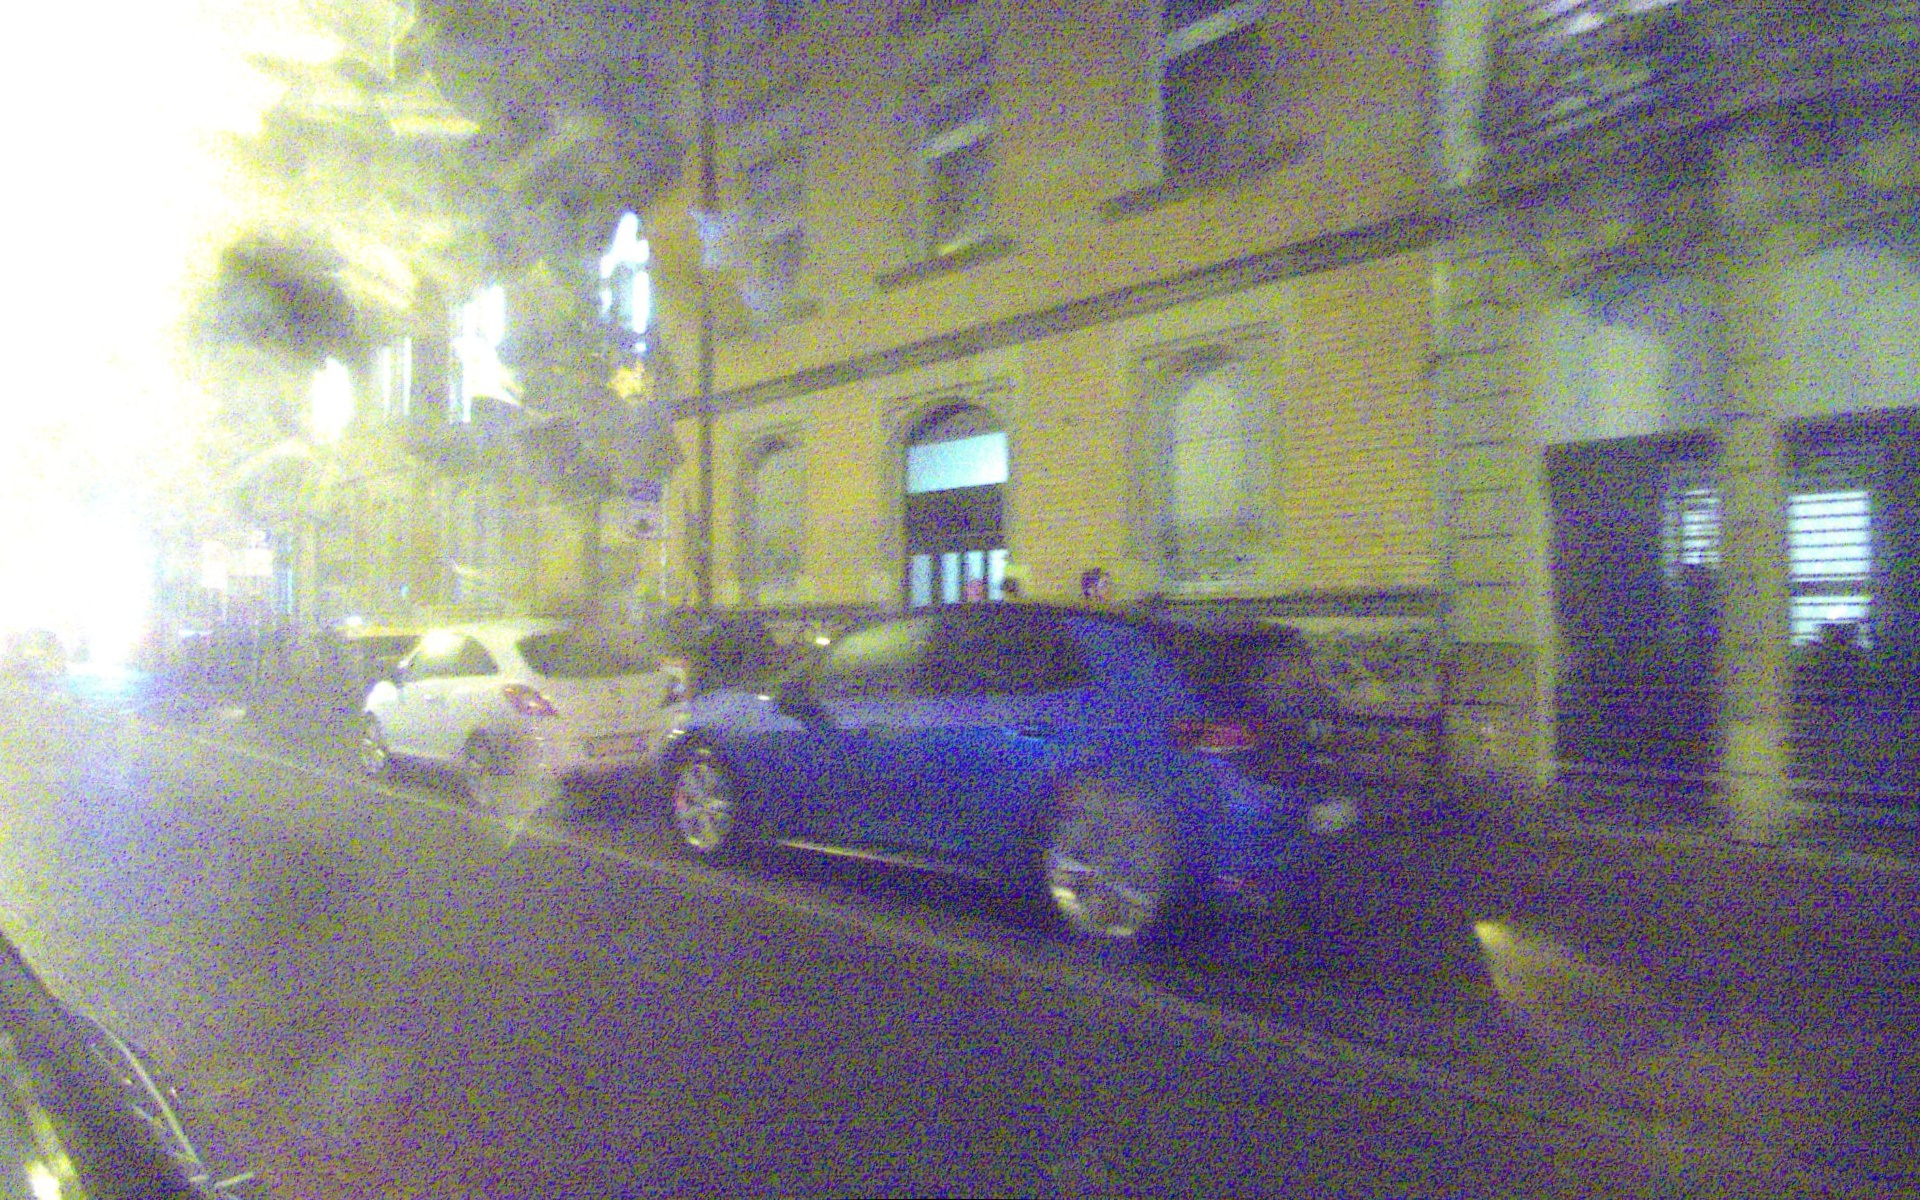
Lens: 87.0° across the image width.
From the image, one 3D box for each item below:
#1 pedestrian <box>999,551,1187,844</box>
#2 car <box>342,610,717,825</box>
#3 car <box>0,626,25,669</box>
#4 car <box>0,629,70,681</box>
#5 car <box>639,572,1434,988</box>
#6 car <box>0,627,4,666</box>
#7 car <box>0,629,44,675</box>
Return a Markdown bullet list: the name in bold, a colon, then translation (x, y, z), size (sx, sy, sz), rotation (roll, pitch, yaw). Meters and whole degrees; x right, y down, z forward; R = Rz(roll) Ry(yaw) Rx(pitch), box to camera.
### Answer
- **pedestrian**: translation (0.908, 0.624, 7.005), size (1.078, 1.846, 0.667), rotation (-2, -2, 43)
- **car**: translation (-3.952, 0.869, 8.985), size (3.786, 1.489, 1.697), rotation (-2, -1, 43)
- **car**: translation (-37.301, 1.808, 38.758), size (3.733, 1.592, 1.828), rotation (-2, -1, 41)
- **car**: translation (-28.718, 1.651, 30.906), size (3.733, 1.489, 1.828), rotation (-2, -1, 41)
- **car**: translation (0.180, 0.707, 5.603), size (4.154, 1.490, 1.699), rotation (-2, -2, 38)
- **car**: translation (-41.900, 1.976, 42.751), size (3.733, 1.592, 1.828), rotation (-2, -1, 41)
- **car**: translation (-32.969, 1.769, 34.762), size (3.733, 1.489, 1.828), rotation (-2, -1, 41)
